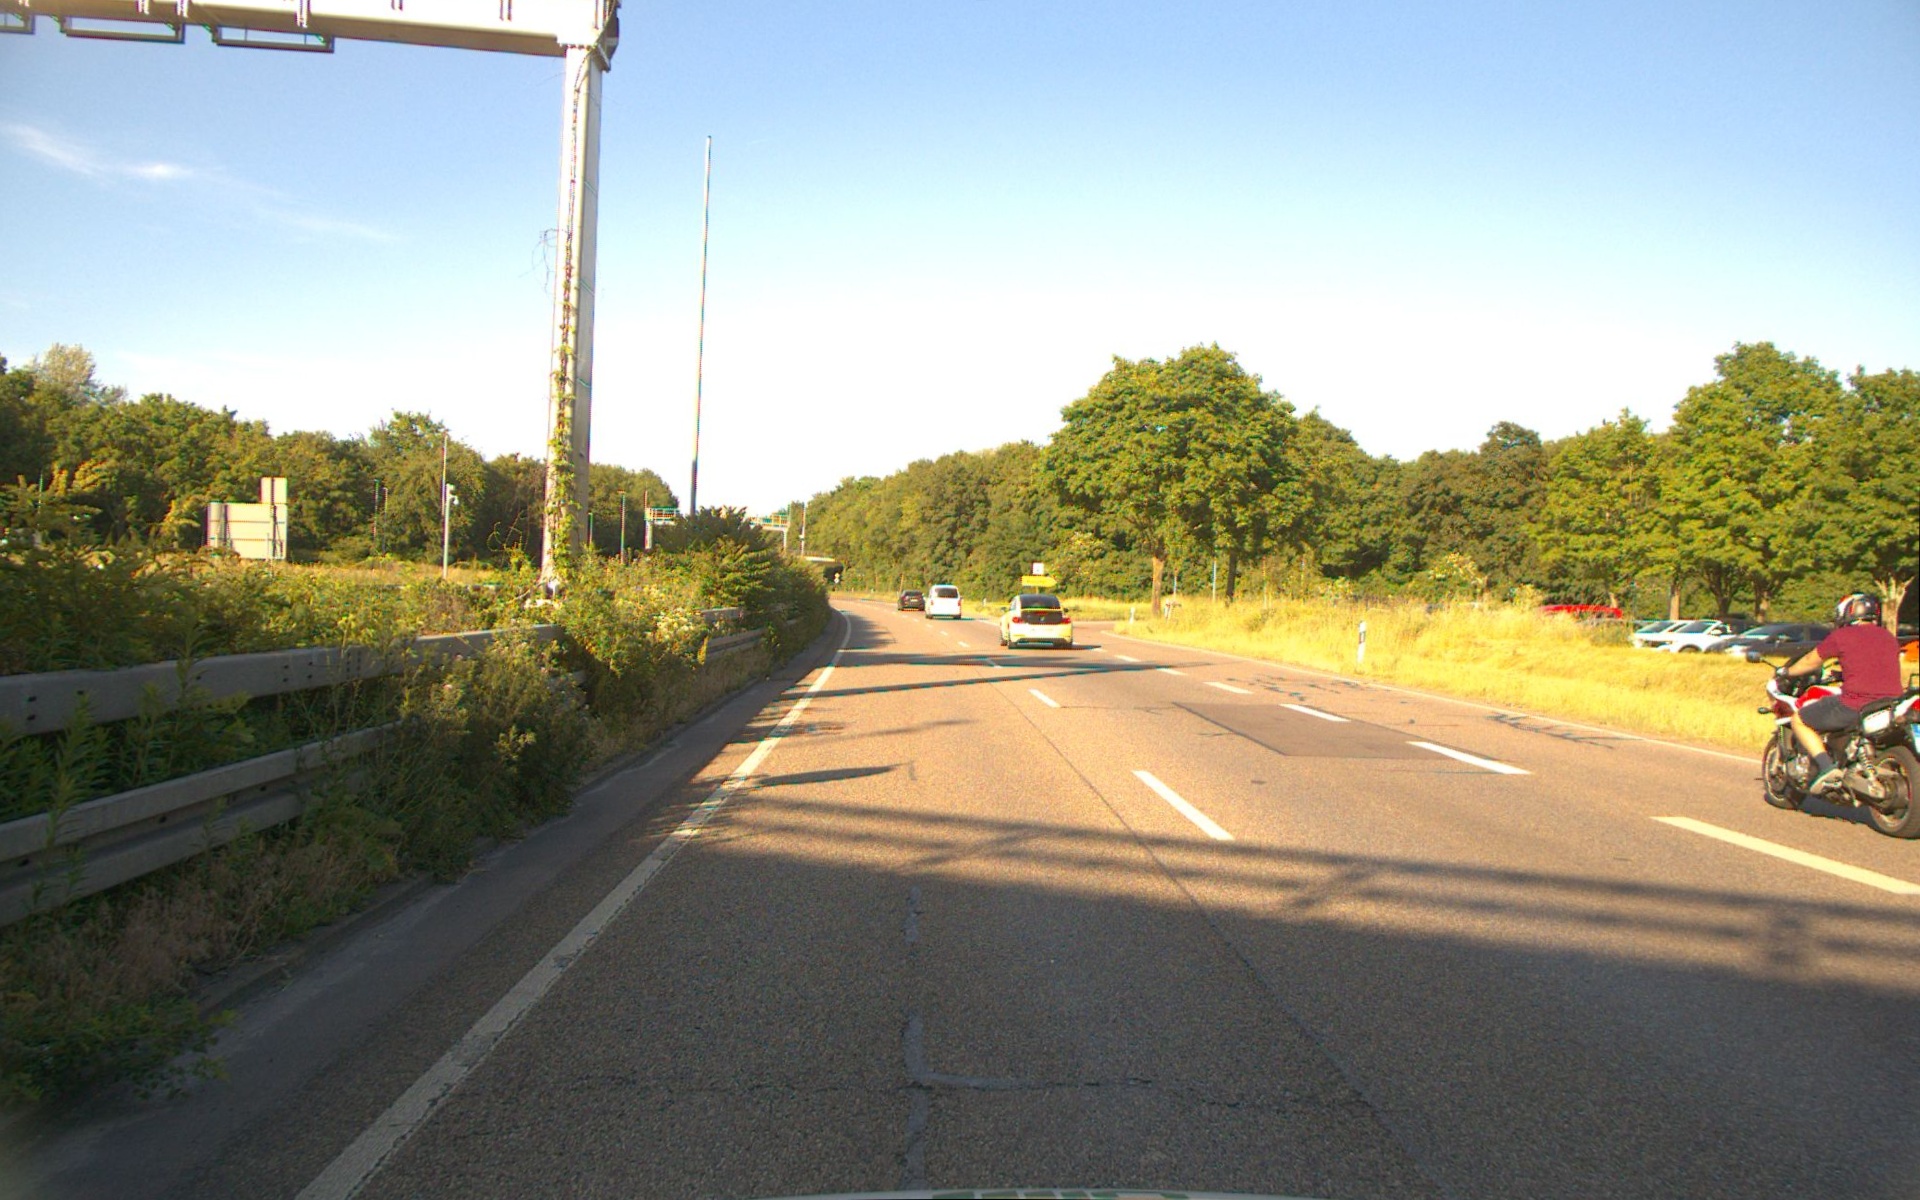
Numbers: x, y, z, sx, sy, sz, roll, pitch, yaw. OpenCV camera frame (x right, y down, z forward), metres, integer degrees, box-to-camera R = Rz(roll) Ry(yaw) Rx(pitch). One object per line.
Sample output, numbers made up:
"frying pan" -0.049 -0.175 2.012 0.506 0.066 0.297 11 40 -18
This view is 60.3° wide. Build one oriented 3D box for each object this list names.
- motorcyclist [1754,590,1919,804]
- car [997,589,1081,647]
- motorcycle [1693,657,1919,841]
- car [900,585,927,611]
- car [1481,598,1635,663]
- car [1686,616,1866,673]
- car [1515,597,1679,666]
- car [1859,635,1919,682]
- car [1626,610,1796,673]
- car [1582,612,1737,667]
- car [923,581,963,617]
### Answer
"motorcyclist" 6.465 0.677 12.029 0.800 1.472 1.093 2 0 -2
"car" 2.154 0.476 46.216 1.860 1.496 3.997 1 1 -5
"motorcycle" 6.465 1.026 12.157 0.800 1.088 2.835 2 0 -2
"car" -3.329 -0.175 119.244 1.859 1.798 3.999 1 0 -2
"car" 20.975 1.088 58.077 4.698 2.059 2.023 2 -3 -7
"car" 21.717 1.201 44.110 3.911 1.329 1.921 2 -3 -7
"car" 21.230 1.085 55.196 4.698 2.059 2.023 2 -3 -7
"car" 31.785 1.952 53.858 4.032 1.449 2.020 2 -3 -7
"car" 21.357 1.203 47.118 4.032 1.586 1.921 2 -3 -7
"car" 21.045 1.210 49.834 3.857 1.485 1.921 2 -3 -7
"car" -0.948 -0.032 88.846 1.860 1.798 3.996 2 -1 -5
